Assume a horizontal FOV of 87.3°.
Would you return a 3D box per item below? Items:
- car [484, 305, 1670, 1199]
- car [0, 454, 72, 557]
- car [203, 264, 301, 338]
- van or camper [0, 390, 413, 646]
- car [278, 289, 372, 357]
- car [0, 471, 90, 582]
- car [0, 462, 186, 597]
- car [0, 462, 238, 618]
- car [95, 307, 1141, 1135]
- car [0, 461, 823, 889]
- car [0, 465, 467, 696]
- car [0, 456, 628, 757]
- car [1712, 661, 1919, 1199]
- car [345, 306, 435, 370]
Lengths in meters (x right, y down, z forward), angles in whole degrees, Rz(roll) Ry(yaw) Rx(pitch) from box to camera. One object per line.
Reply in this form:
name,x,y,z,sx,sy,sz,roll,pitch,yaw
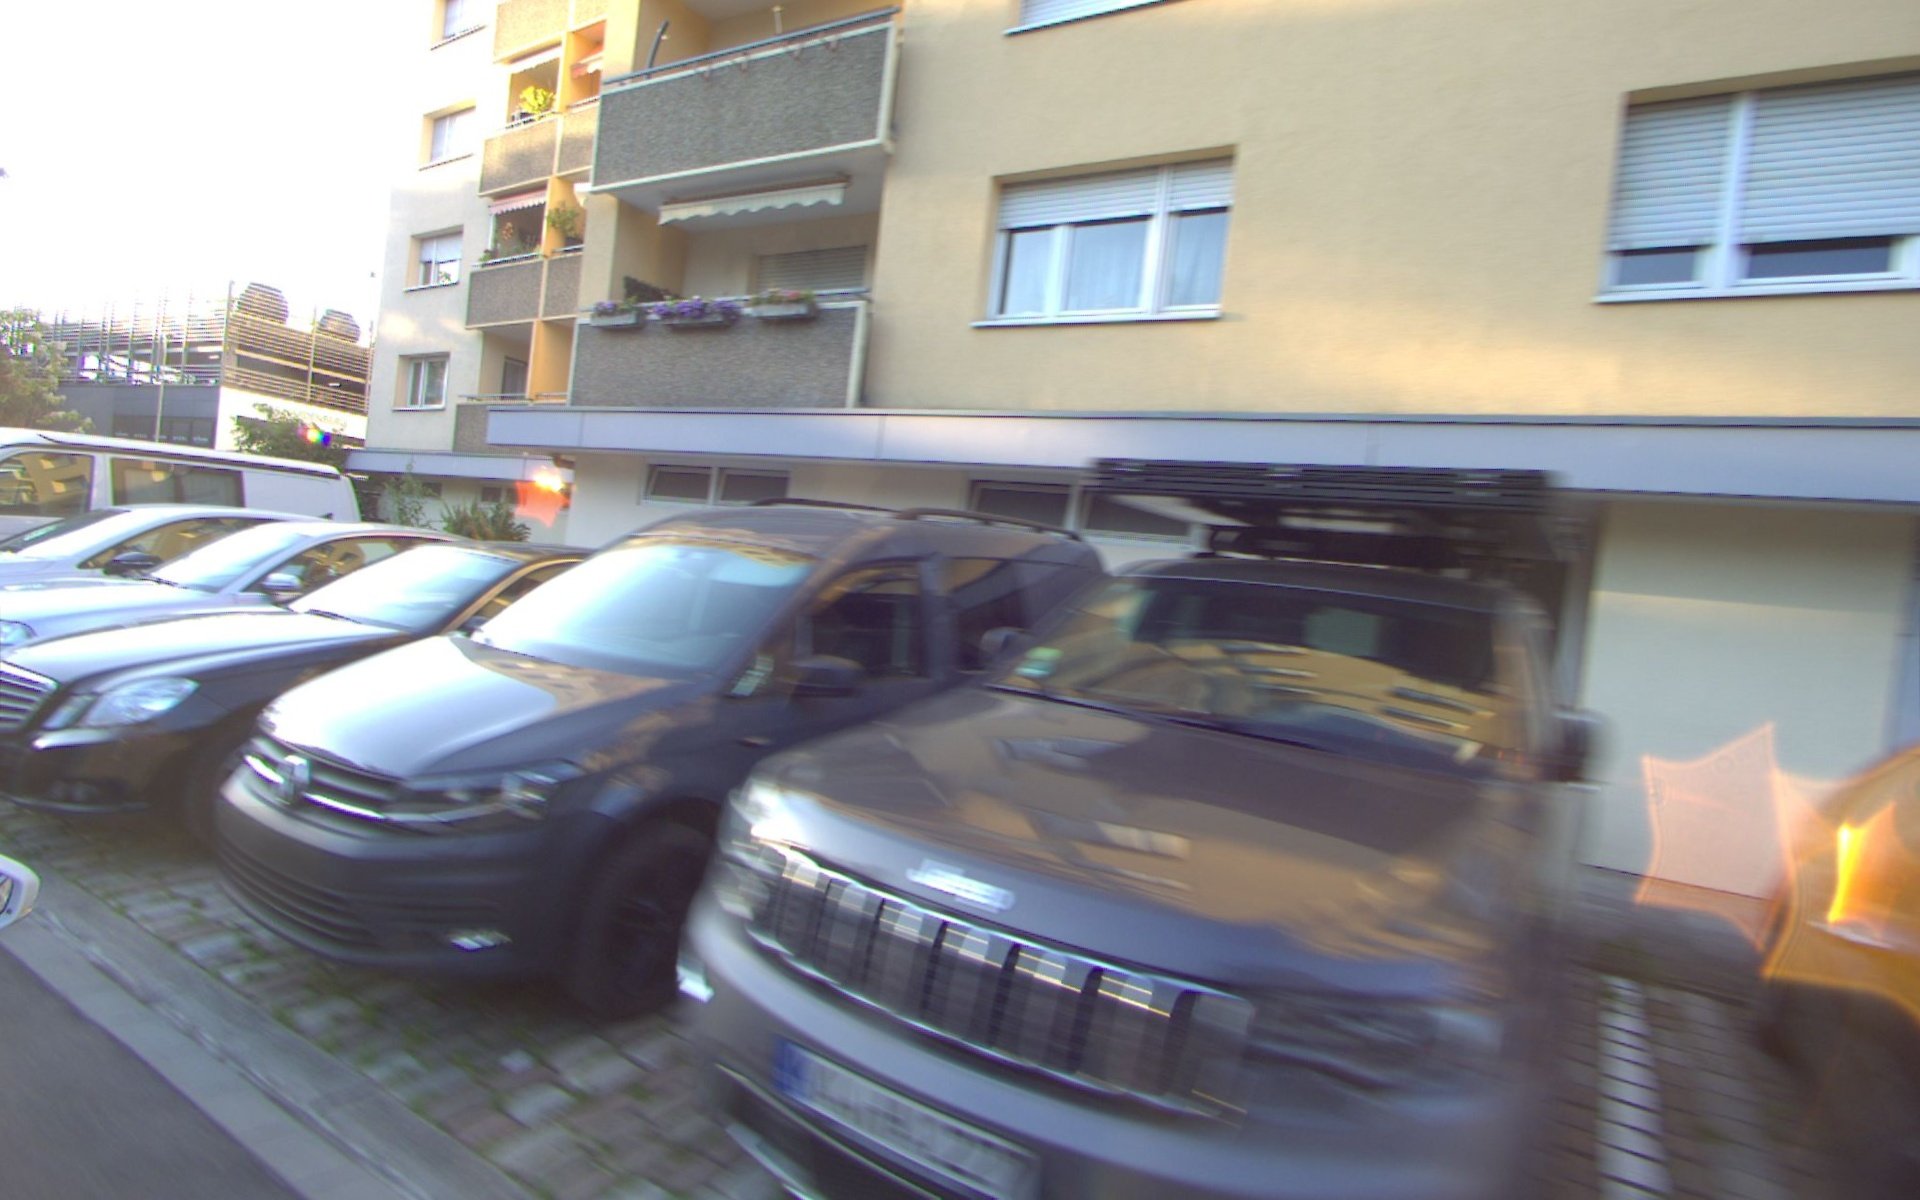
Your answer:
car,1.028,0.637,3.497,1.815,1.887,4.515,7,1,31
car,-17.277,-1.671,16.013,1.816,1.654,4.399,7,4,34
car,-29.009,-12.169,41.181,3.939,2.038,1.994,7,0,37
van or camper,-8.590,-0.793,10.062,2.006,2.198,5.133,7,3,30
car,-27.350,-11.863,43.303,3.939,2.038,1.994,7,0,37
car,-15.344,-1.210,14.067,1.814,1.551,4.408,5,0,29
car,-13.103,-0.991,13.110,1.814,1.683,4.406,5,2,29
car,-11.096,-0.712,11.449,1.751,1.683,4.328,5,2,29
car,-0.889,0.339,4.891,1.815,2.006,4.640,5,0,31
car,-2.981,0.312,6.064,1.815,1.583,4.406,5,0,31
car,-6.946,-0.142,8.761,1.815,1.652,4.406,5,0,31
car,-4.899,0.062,7.504,1.815,1.613,4.406,5,0,31
car,3.283,1.040,2.549,1.816,1.573,4.404,5,0,33
car,-25.732,-11.768,45.375,3.939,2.038,1.994,7,0,37
